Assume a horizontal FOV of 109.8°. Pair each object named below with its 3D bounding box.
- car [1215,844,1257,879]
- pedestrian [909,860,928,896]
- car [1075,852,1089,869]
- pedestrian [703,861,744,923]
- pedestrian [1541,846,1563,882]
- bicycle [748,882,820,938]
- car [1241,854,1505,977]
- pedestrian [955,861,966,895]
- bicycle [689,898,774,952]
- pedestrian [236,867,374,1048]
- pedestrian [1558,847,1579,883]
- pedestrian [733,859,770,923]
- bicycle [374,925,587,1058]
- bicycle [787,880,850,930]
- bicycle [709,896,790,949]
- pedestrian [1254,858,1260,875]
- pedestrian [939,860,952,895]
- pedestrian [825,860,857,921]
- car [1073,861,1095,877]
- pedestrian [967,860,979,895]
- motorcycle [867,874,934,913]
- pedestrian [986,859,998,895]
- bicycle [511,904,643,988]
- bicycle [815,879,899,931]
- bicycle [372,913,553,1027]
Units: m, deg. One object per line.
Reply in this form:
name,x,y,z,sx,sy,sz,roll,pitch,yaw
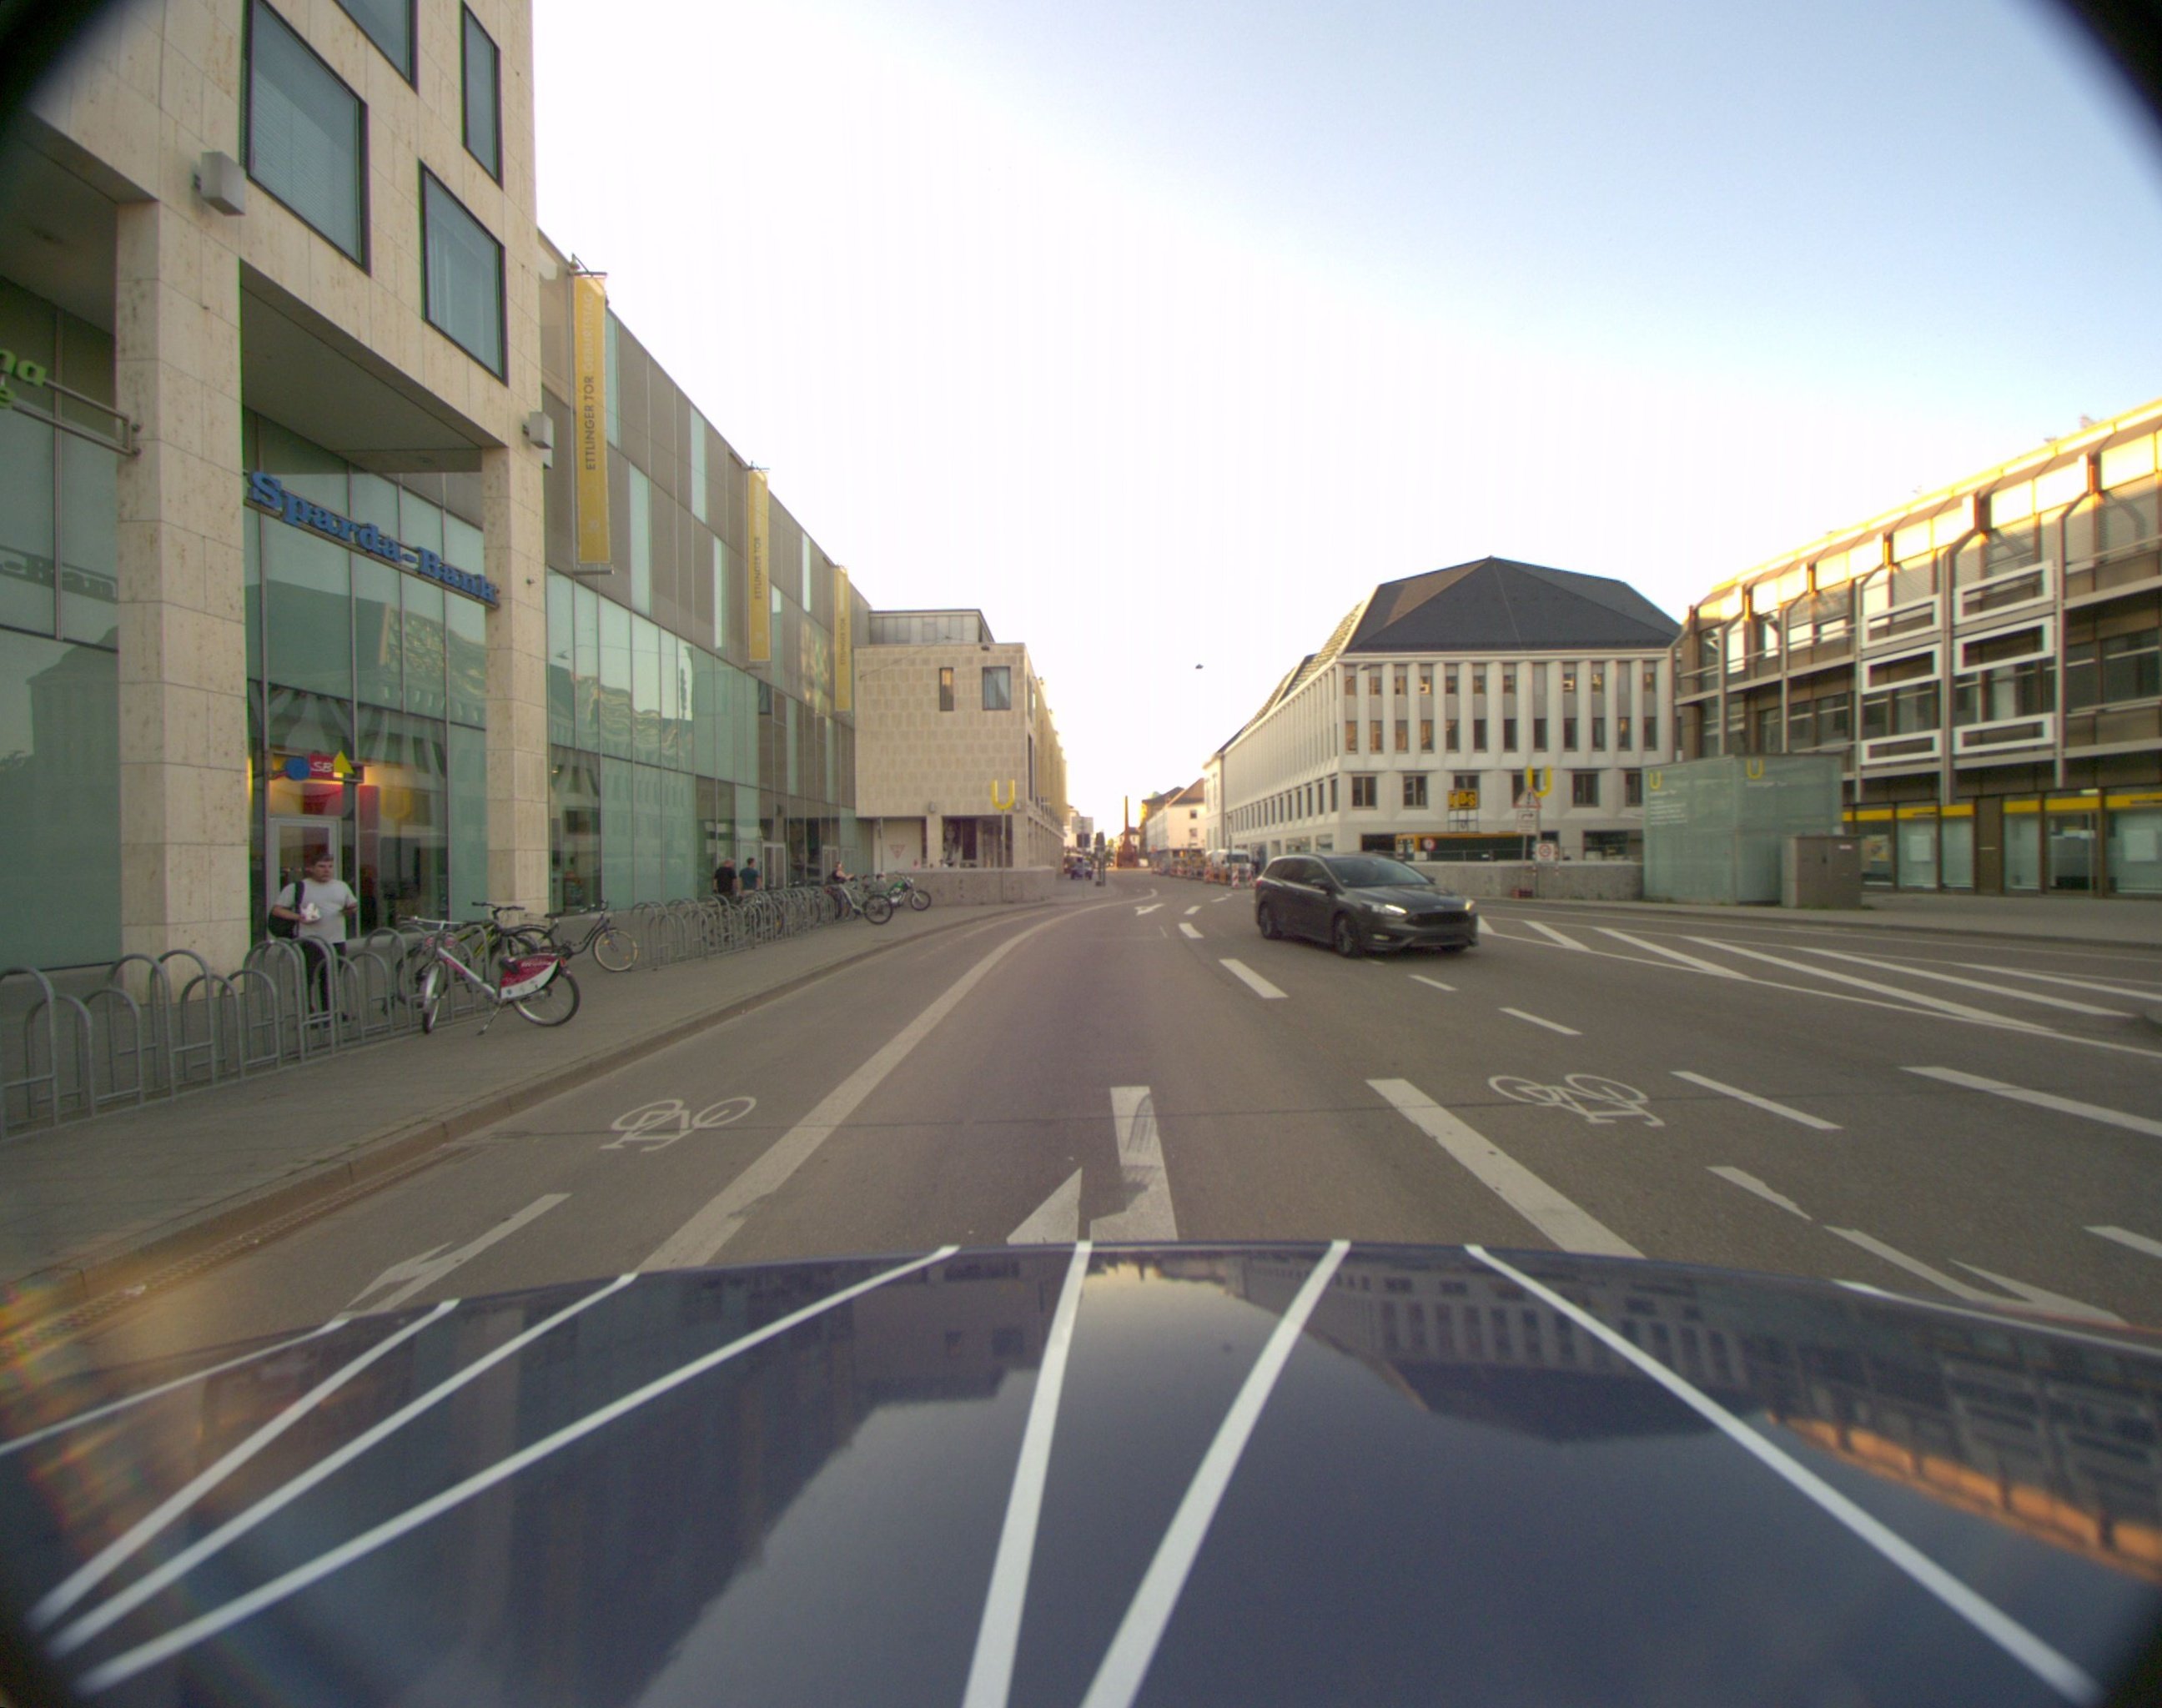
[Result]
car,11.983,0.594,59.163,2.141,2.540,6.050,-1,0,1
pedestrian,-8.105,1.191,37.916,0.793,1.733,0.657,-1,0,3
car,0.146,0.843,100.617,1.798,2.198,3.671,-1,0,2
pedestrian,-9.633,1.006,20.500,0.741,1.638,0.820,-1,0,-7
pedestrian,19.395,0.417,31.285,0.532,1.487,0.555,-1,0,1
bicycle,-6.661,1.242,17.077,1.345,1.157,0.518,-3,0,-1
car,4.143,0.784,11.688,1.763,1.454,4.376,-2,0,-10
pedestrian,-6.141,1.231,38.683,0.454,1.733,0.493,-1,0,3
bicycle,-6.657,1.348,14.503,1.345,0.927,0.518,-3,0,-1
pedestrian,-7.569,0.973,7.432,0.707,1.682,0.630,-1,0,9
pedestrian,20.152,0.445,31.414,0.532,1.487,0.555,-1,0,1
pedestrian,-8.857,0.982,20.446,0.698,1.686,0.820,-1,0,-7
bicycle,-5.400,1.224,6.866,1.518,1.057,0.466,-3,0,1
bicycle,-6.606,1.269,19.163,1.345,1.157,0.518,-3,0,-1
bicycle,-6.598,1.357,15.149,1.345,0.927,0.518,-3,0,-1
pedestrian,13.725,0.988,59.153,0.350,1.308,0.338,-1,0,1
pedestrian,-6.747,1.156,37.889,0.494,1.733,0.657,-1,0,3
pedestrian,-6.630,0.992,21.025,0.809,1.633,0.646,-1,0,-18
car,0.332,1.299,67.809,1.798,1.365,3.671,-1,0,2
pedestrian,-5.318,1.158,37.482,0.504,1.733,0.493,-1,0,3
motorcycle,-5.713,1.245,24.084,2.007,1.217,0.480,-1,0,-2
pedestrian,-4.280,1.099,36.477,0.454,1.733,0.493,-1,0,3
bicycle,-7.305,1.319,11.072,1.447,1.058,0.580,-3,0,-10
bicycle,-5.391,1.223,18.319,1.838,1.140,0.466,-3,0,1
bicycle,-6.800,1.263,8.392,1.518,1.117,0.581,-3,0,4
